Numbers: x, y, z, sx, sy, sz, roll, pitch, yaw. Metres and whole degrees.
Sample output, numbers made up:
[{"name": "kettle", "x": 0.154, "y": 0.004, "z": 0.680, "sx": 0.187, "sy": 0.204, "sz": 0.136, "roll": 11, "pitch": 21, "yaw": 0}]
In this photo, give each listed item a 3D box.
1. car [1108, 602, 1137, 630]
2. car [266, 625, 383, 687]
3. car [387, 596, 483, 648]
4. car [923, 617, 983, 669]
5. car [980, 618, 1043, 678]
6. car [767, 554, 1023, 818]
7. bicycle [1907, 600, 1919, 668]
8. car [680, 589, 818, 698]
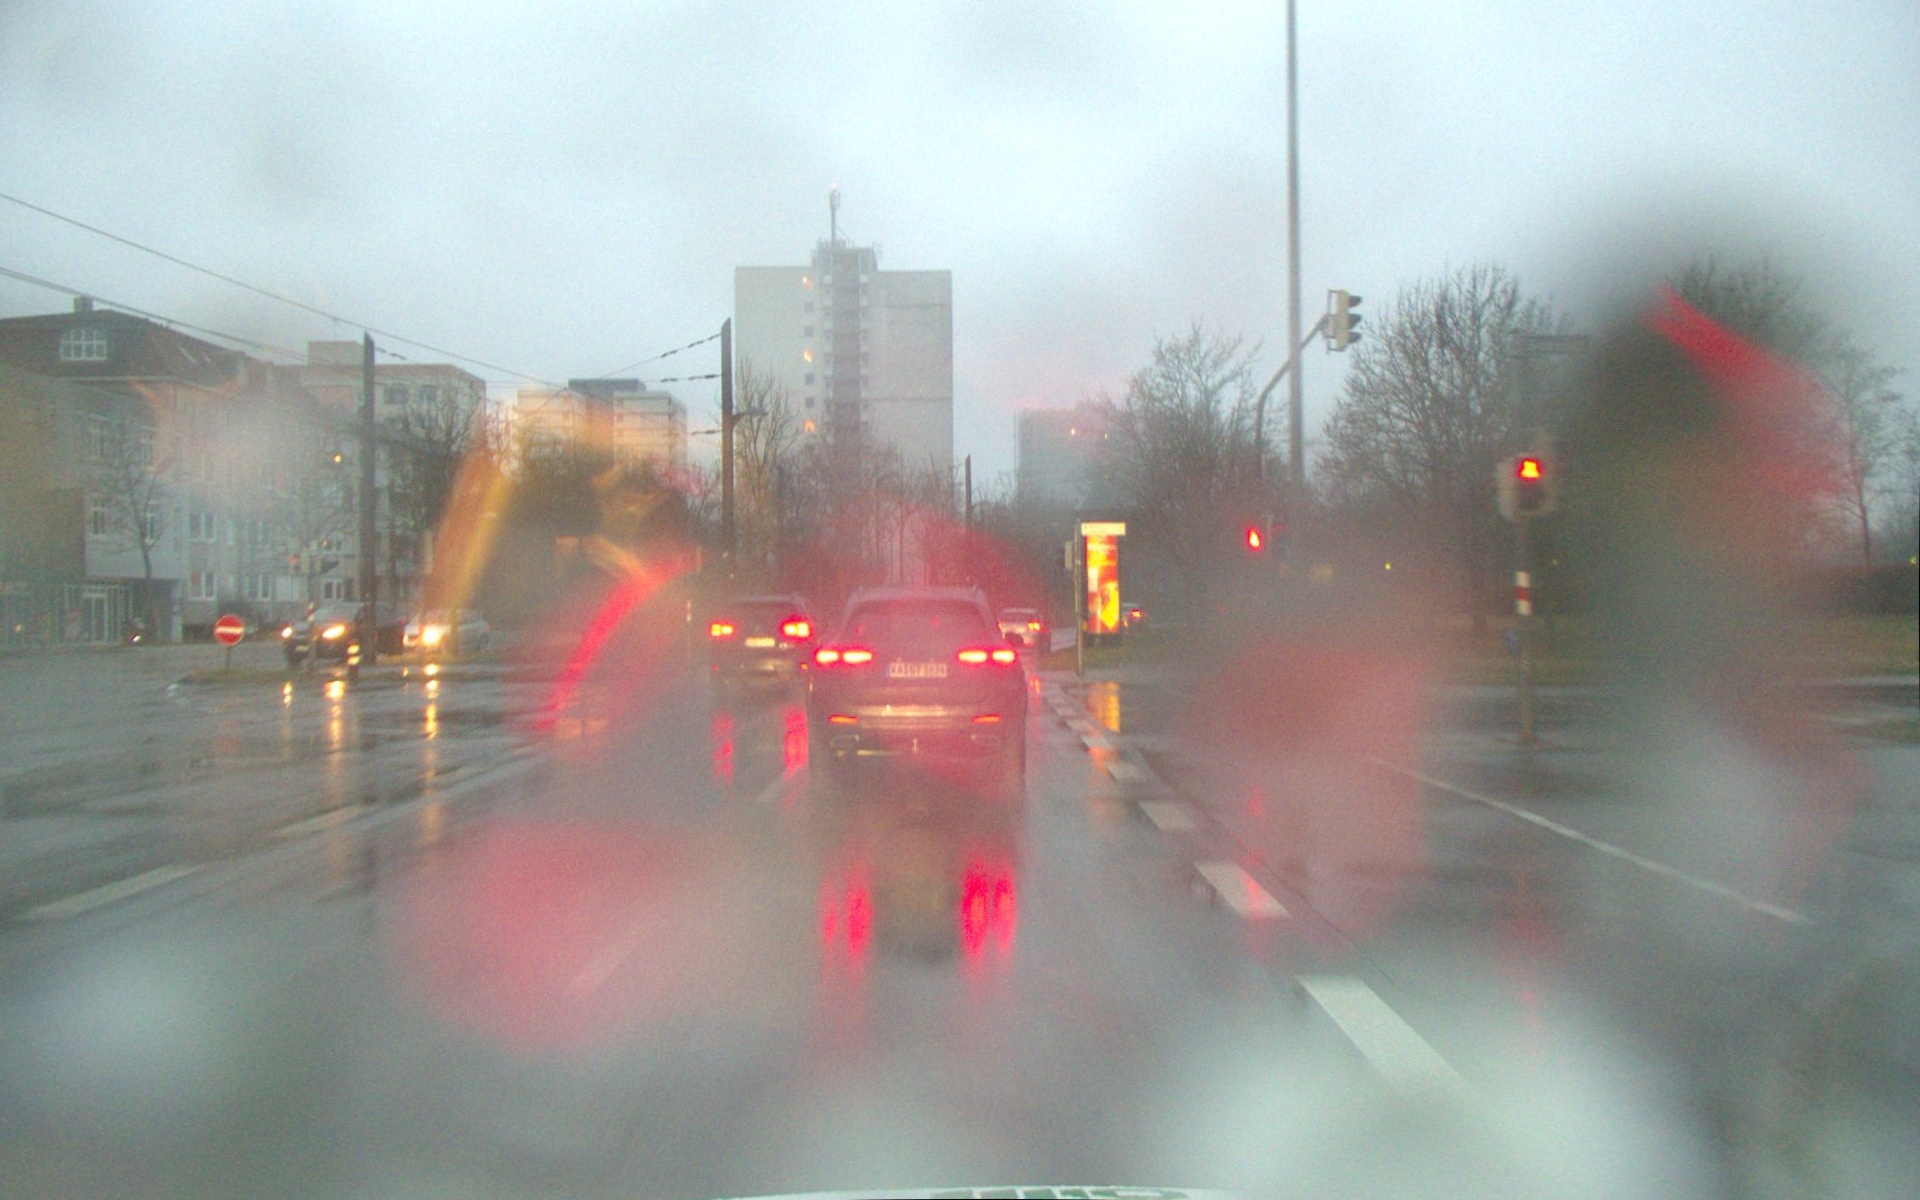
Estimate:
[{"name": "car", "x": 9.104, "y": 0.904, "z": 92.943, "sx": 1.503, "sy": 1.540, "sz": 3.344, "roll": 1, "pitch": -1, "yaw": 4}, {"name": "car", "x": -17.604, "y": 1.536, "z": 46.018, "sx": 1.768, "sy": 1.635, "sz": 3.998, "roll": 1, "pitch": -1, "yaw": -2}, {"name": "car", "x": -16.582, "y": 0.719, "z": 52.450, "sx": 1.555, "sy": 1.556, "sz": 4.932, "roll": 1, "pitch": -1, "yaw": -1}, {"name": "car", "x": -0.230, "y": 1.649, "z": 63.566, "sx": 1.734, "sy": 1.925, "sz": 3.645, "roll": 1, "pitch": -1, "yaw": 9}, {"name": "car", "x": 1.774, "y": 1.615, "z": 55.792, "sx": 1.817, "sy": 1.925, "sz": 4.002, "roll": 1, "pitch": -1, "yaw": 6}, {"name": "car", "x": -0.523, "y": 0.707, "z": 14.827, "sx": 1.953, "sy": 2.010, "sz": 4.067, "roll": 1, "pitch": -1, "yaw": -1}, {"name": "bicycle", "x": 18.425, "y": 0.604, "z": 29.977, "sx": 1.924, "sy": 1.237, "sz": 1.040, "roll": -1, "pitch": 1, "yaw": -4}, {"name": "car", "x": -3.623, "y": 0.753, "z": 29.157, "sx": 1.953, "sy": 1.742, "sz": 4.323, "roll": 1, "pitch": -1, "yaw": -1}]
